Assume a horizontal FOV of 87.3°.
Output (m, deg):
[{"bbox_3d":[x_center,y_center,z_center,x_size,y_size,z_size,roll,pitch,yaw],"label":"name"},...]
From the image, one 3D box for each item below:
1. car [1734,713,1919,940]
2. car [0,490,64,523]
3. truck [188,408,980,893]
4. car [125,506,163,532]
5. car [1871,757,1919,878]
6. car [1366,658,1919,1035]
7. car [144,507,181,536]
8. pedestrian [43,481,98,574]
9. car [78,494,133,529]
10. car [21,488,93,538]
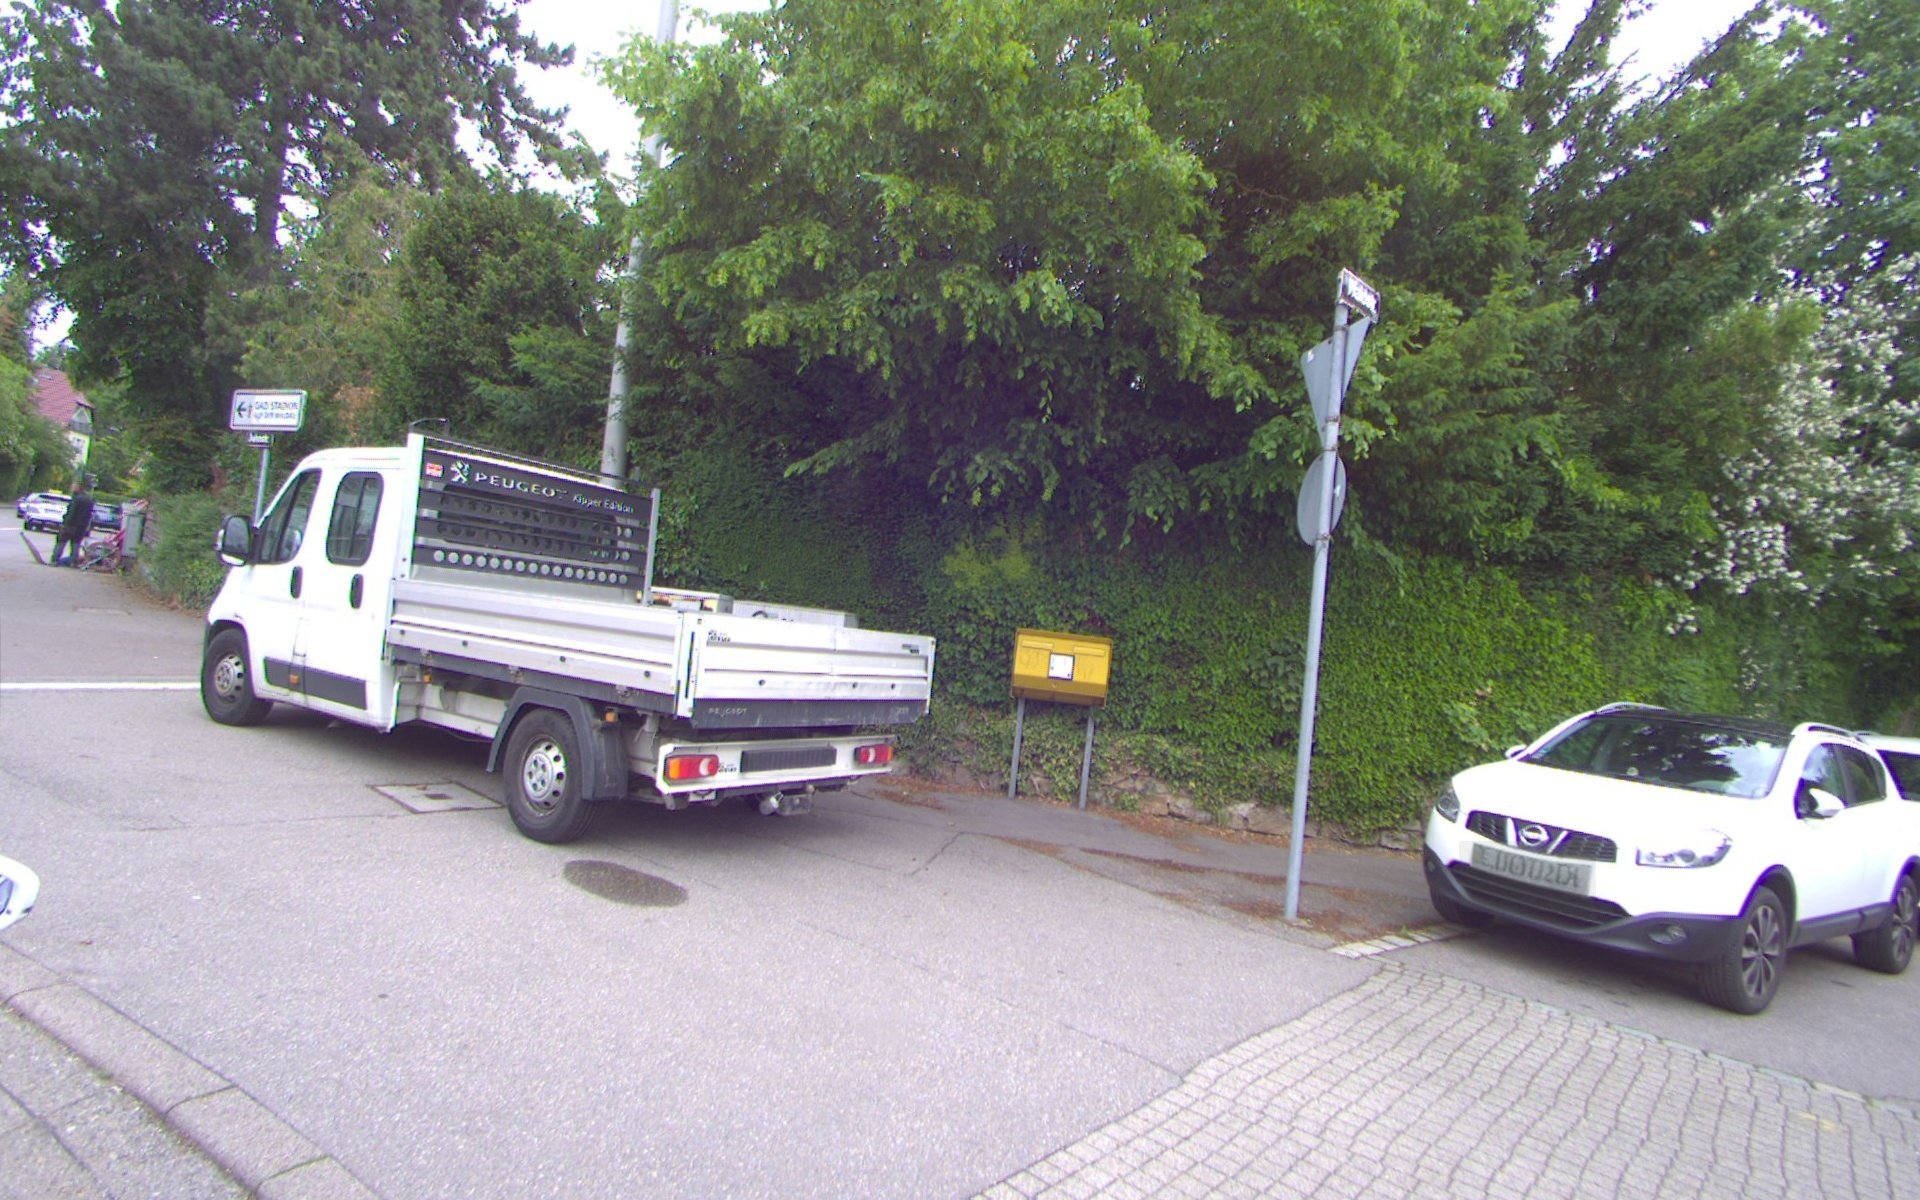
[{"bbox_3d":[9.051,2.116,9.476,4.041,1.641,1.781,9,-3,-38],"label":"car"},{"bbox_3d":[-52.016,-5.210,56.440,1.928,1.420,4.697,9,-1,-35],"label":"car"},{"bbox_3d":[-2.928,0.086,7.167,5.631,2.270,2.211,6,-2,34],"label":"truck"},{"bbox_3d":[-55.117,-5.471,67.968,1.685,1.448,3.711,7,0,-36],"label":"car"},{"bbox_3d":[13.894,3.008,13.489,4.040,1.440,1.781,8,-2,-38],"label":"car"},{"bbox_3d":[4.772,1.470,6.662,4.098,1.641,1.783,9,-2,-34],"label":"car"},{"bbox_3d":[-63.818,-6.309,80.594,1.910,1.915,4.859,10,-2,-36],"label":"car"},{"bbox_3d":[-19.483,-1.576,22.037,0.549,1.929,0.597,7,-1,32],"label":"pedestrian"},{"bbox_3d":[-46.728,-4.813,55.078,1.790,1.545,4.697,7,0,-36],"label":"car"},{"bbox_3d":[-38.407,-3.694,42.891,1.798,1.775,4.441,7,0,-37],"label":"car"}]
